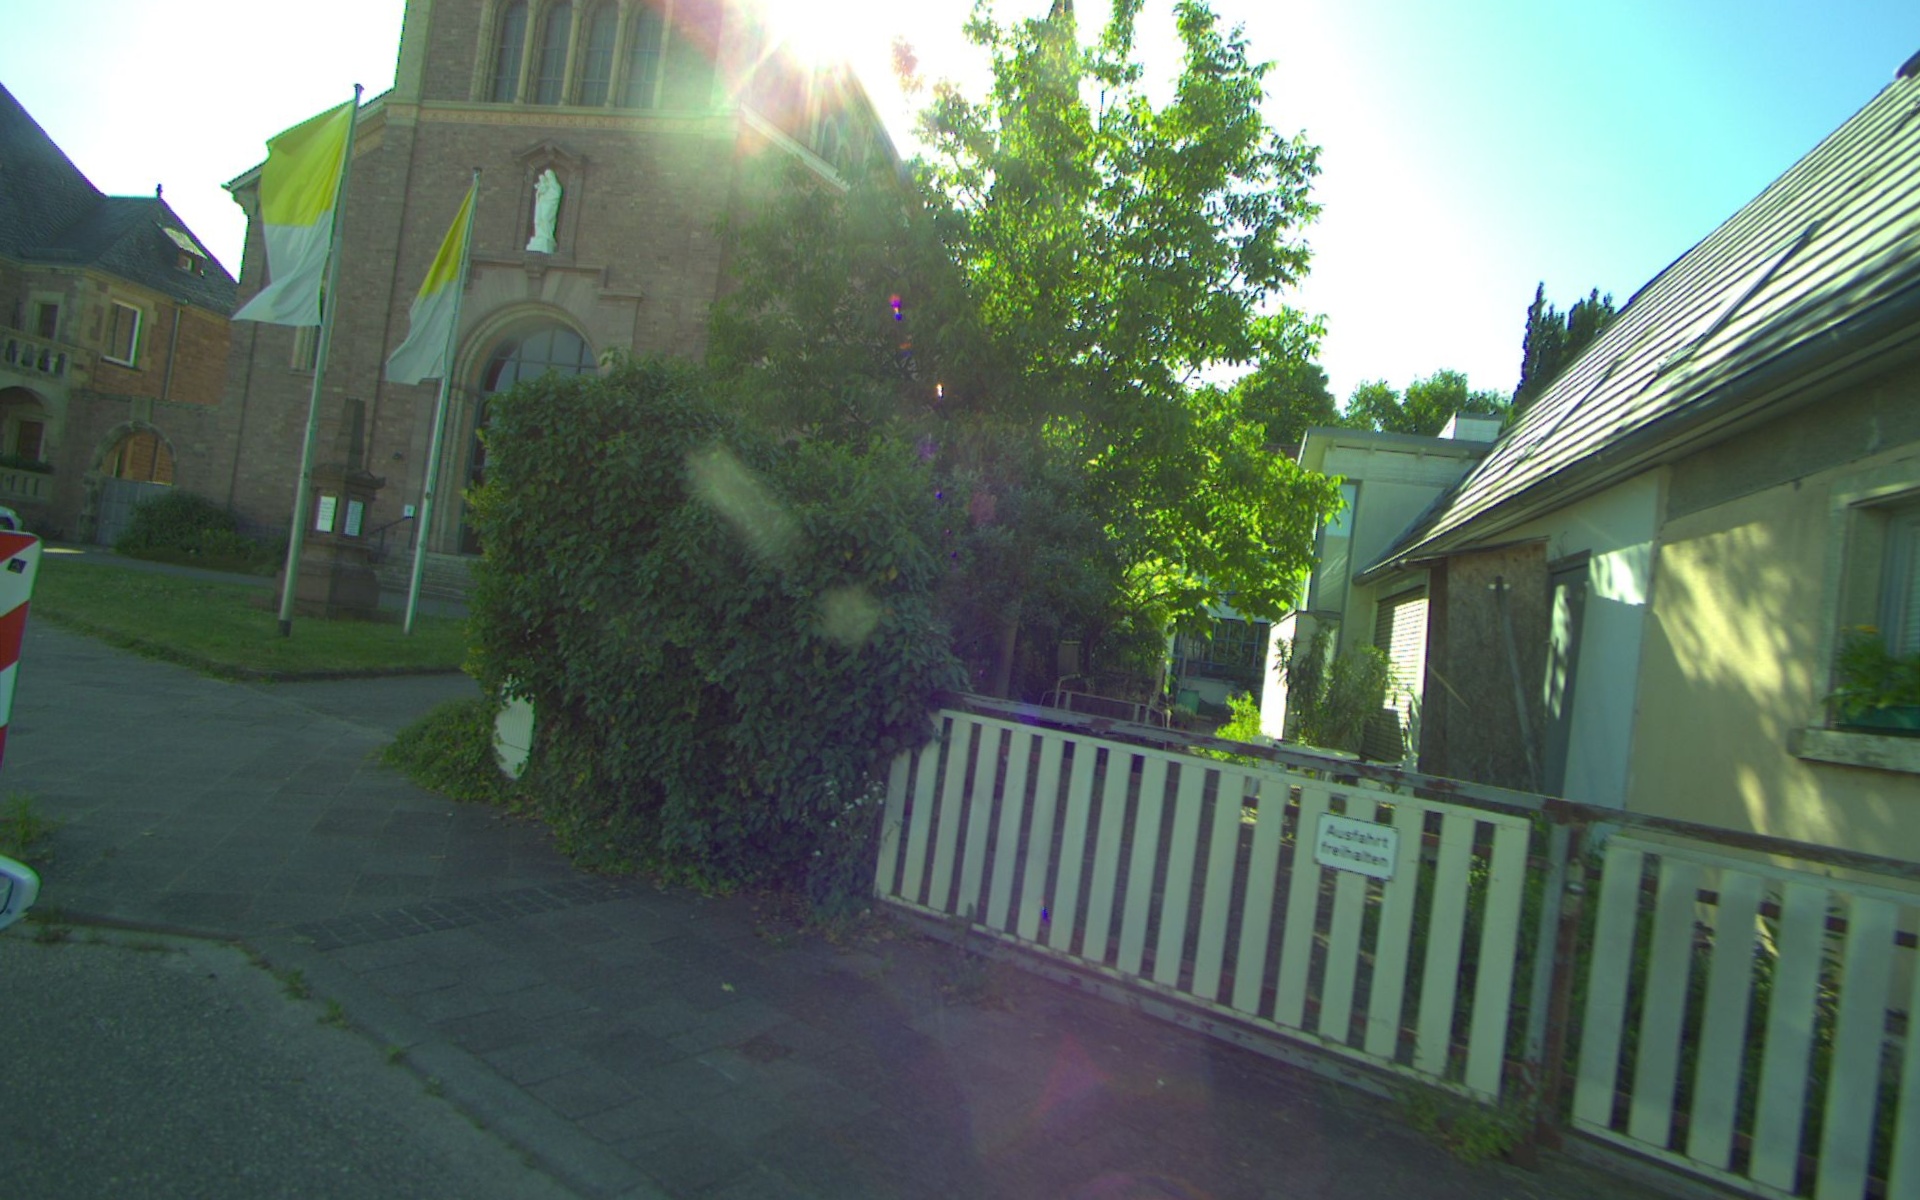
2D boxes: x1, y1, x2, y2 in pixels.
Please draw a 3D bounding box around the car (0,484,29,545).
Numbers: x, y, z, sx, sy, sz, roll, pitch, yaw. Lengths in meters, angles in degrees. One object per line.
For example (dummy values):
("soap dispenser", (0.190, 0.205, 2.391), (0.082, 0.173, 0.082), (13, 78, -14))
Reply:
("car", (-25.712, -2.320, 24.586), (1.868, 1.515, 3.911), (6, 0, 12))
